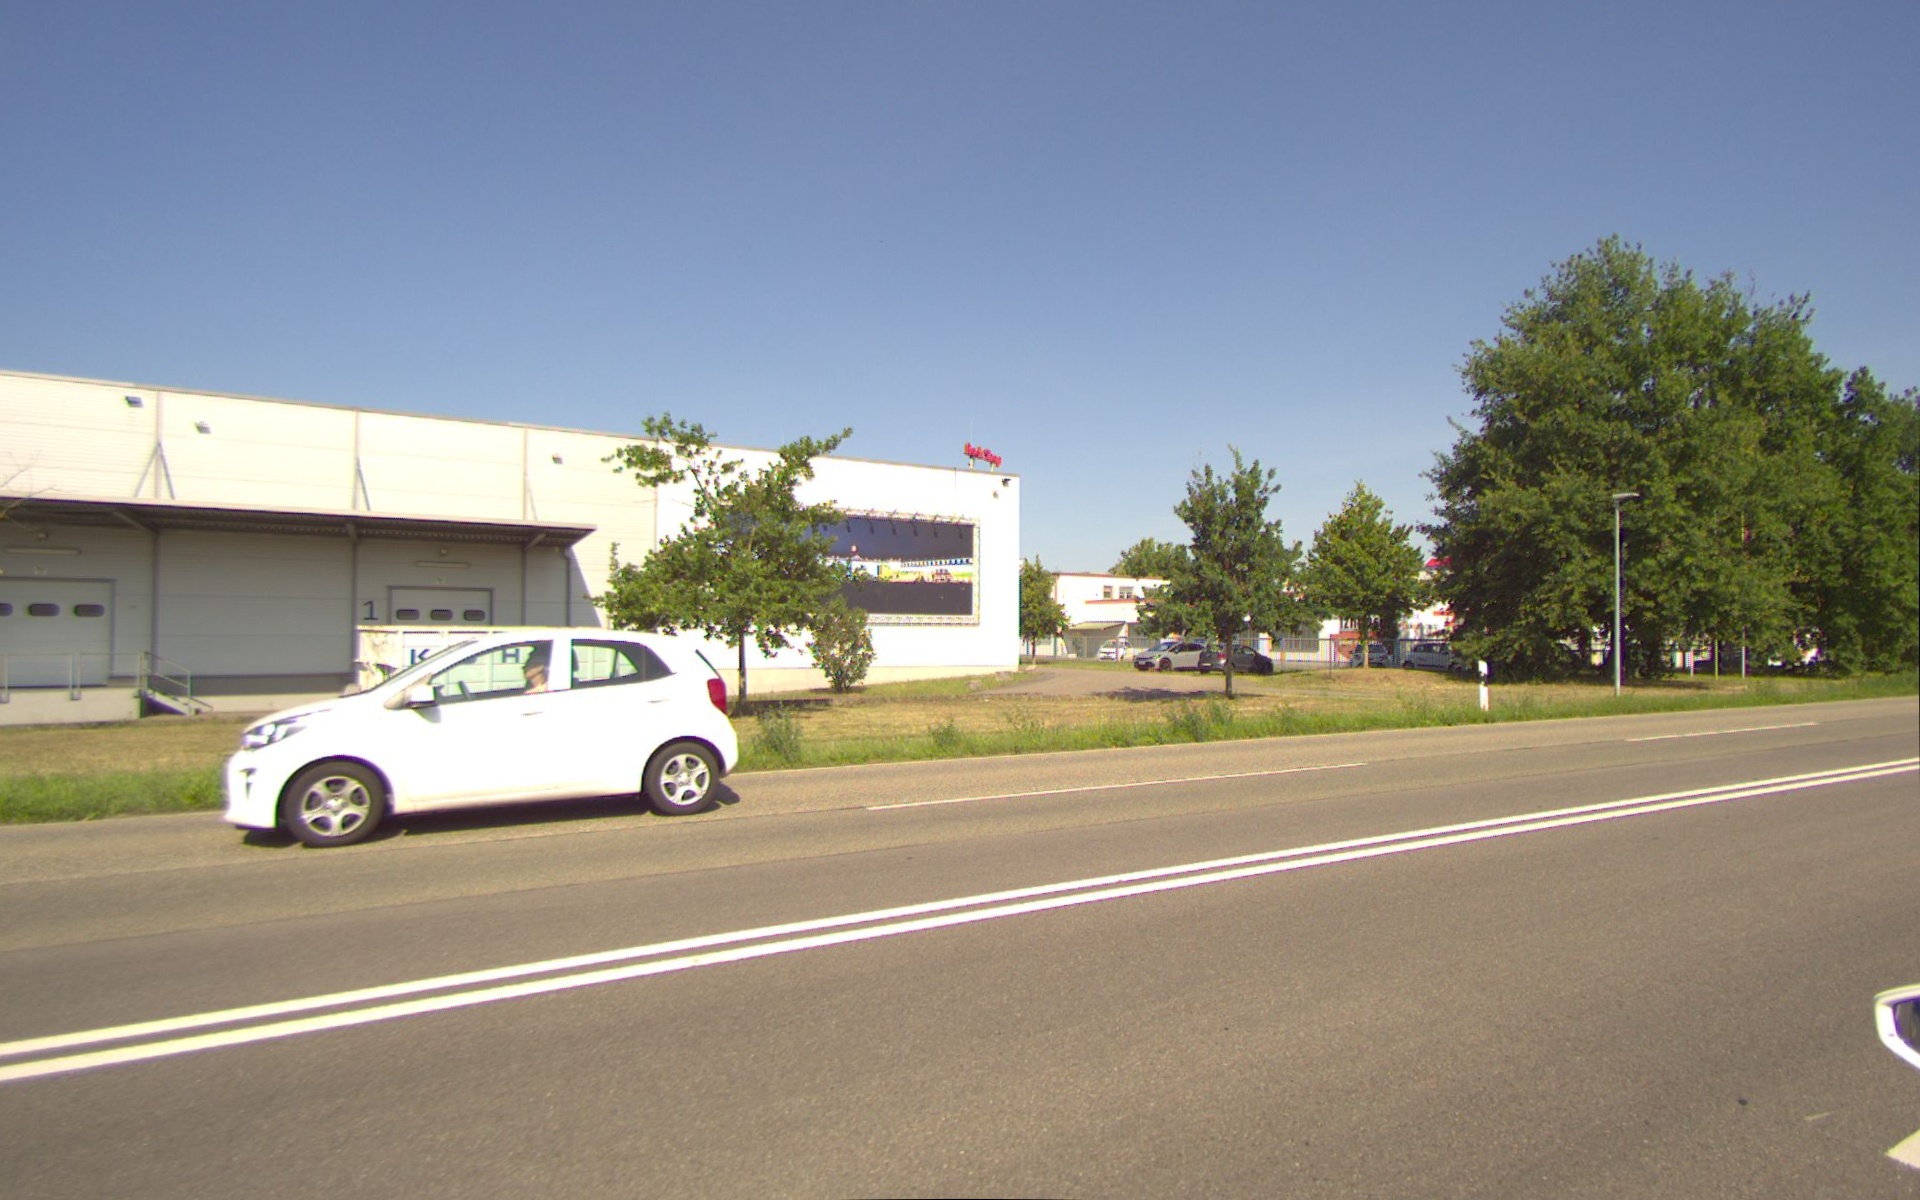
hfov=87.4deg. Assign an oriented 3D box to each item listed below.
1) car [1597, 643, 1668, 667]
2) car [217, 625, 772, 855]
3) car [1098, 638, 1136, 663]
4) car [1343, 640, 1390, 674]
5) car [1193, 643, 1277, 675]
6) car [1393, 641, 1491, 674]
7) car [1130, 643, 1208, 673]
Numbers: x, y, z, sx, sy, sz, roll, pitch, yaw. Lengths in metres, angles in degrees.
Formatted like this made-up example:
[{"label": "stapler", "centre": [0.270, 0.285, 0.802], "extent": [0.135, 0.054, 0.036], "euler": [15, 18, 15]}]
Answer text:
[{"label": "car", "centre": [39.804, 3.267, 59.409], "extent": [4.613, 1.367, 1.777], "euler": [2, -3, -33]}, {"label": "car", "centre": [-3.553, 0.981, 8.080], "extent": [3.692, 1.456, 1.651], "euler": [2, -4, -31]}, {"label": "car", "centre": [10.194, 3.251, 65.223], "extent": [1.441, 1.579, 3.381], "euler": [-1, -2, 27]}, {"label": "car", "centre": [19.596, 2.717, 48.509], "extent": [1.705, 1.520, 4.002], "euler": [0, -2, 17]}, {"label": "car", "centre": [12.597, 2.667, 46.004], "extent": [3.680, 1.408, 1.628], "euler": [2, -2, -31]}, {"label": "car", "centre": [23.194, 2.752, 48.446], "extent": [1.737, 1.520, 3.969], "euler": [1, -3, -30]}, {"label": "car", "centre": [10.395, 2.854, 49.979], "extent": [3.680, 1.429, 1.628], "euler": [2, -2, -31]}]
